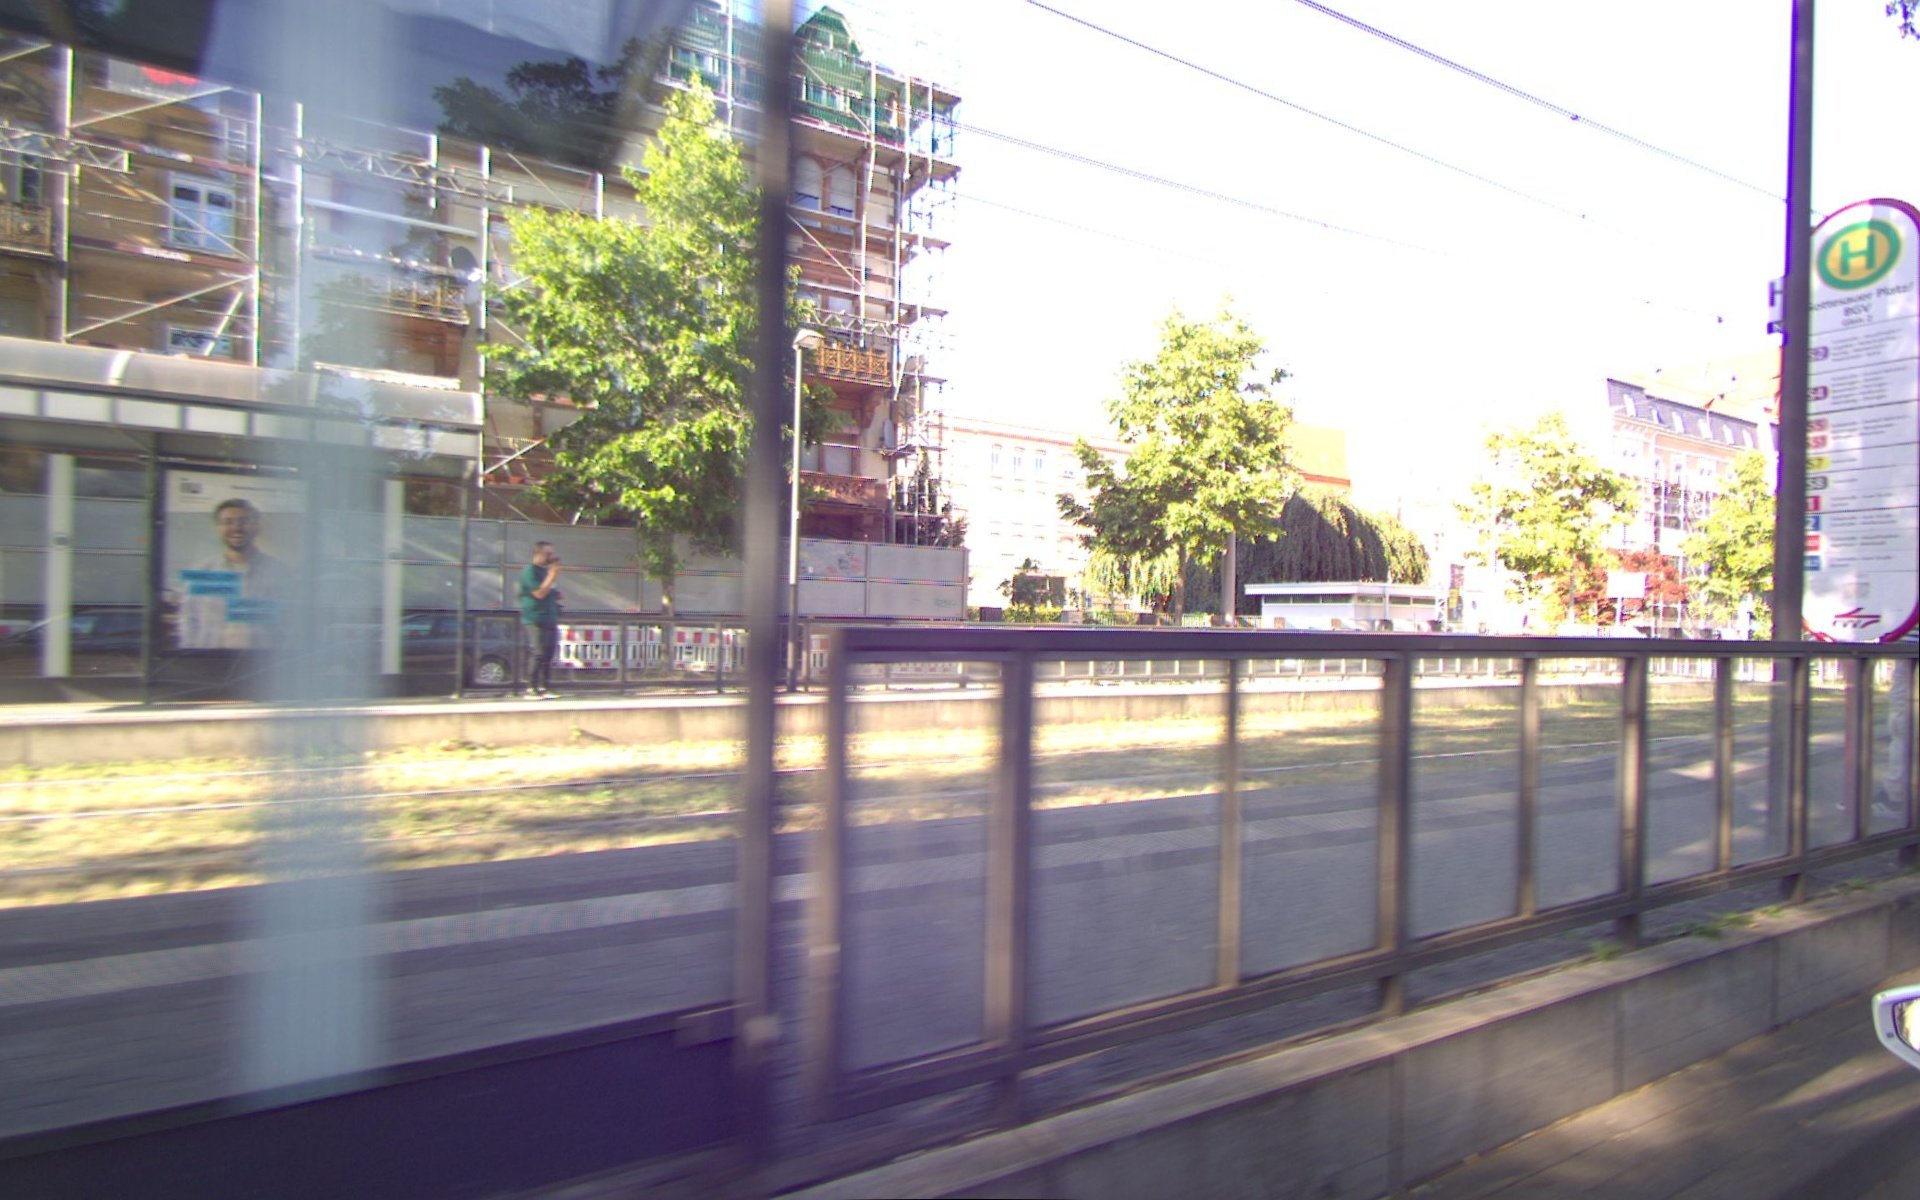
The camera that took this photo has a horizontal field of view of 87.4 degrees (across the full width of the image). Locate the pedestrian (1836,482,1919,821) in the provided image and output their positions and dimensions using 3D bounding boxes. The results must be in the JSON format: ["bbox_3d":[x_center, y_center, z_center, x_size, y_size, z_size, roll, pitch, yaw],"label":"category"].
[{"bbox_3d":[5.255,0.272,5.281,0.884,1.713,0.676,2,1,-30],"label":"pedestrian"}]

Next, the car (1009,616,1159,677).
[{"bbox_3d":[3.593,1.337,29.013,4.012,1.607,1.715,2,1,-26],"label":"car"}]

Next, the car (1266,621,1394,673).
[{"bbox_3d":[12.503,1.582,33.928,4.012,1.607,1.715,2,1,-26],"label":"car"}]

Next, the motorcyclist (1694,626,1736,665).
[{"bbox_3d":[26.790,1.595,35.646,1.264,1.317,0.812,2,1,-35],"label":"motorcyclist"}]

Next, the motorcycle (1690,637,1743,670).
[{"bbox_3d":[26.957,1.886,35.777,2.378,1.087,0.812,2,1,-35],"label":"motorcycle"}]

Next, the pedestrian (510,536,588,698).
[{"bbox_3d":[-4.554,0.180,11.117,0.647,1.713,0.675,2,1,-32],"label":"pedestrian"}]

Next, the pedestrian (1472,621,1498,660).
[{"bbox_3d":[22.788,1.773,43.612,0.805,1.669,0.719,2,-2,-36],"label":"pedestrian"}]

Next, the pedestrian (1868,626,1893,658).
[{"bbox_3d":[56.494,2.557,61.635,1.074,1.953,0.854,2,-2,-32],"label":"pedestrian"}]
